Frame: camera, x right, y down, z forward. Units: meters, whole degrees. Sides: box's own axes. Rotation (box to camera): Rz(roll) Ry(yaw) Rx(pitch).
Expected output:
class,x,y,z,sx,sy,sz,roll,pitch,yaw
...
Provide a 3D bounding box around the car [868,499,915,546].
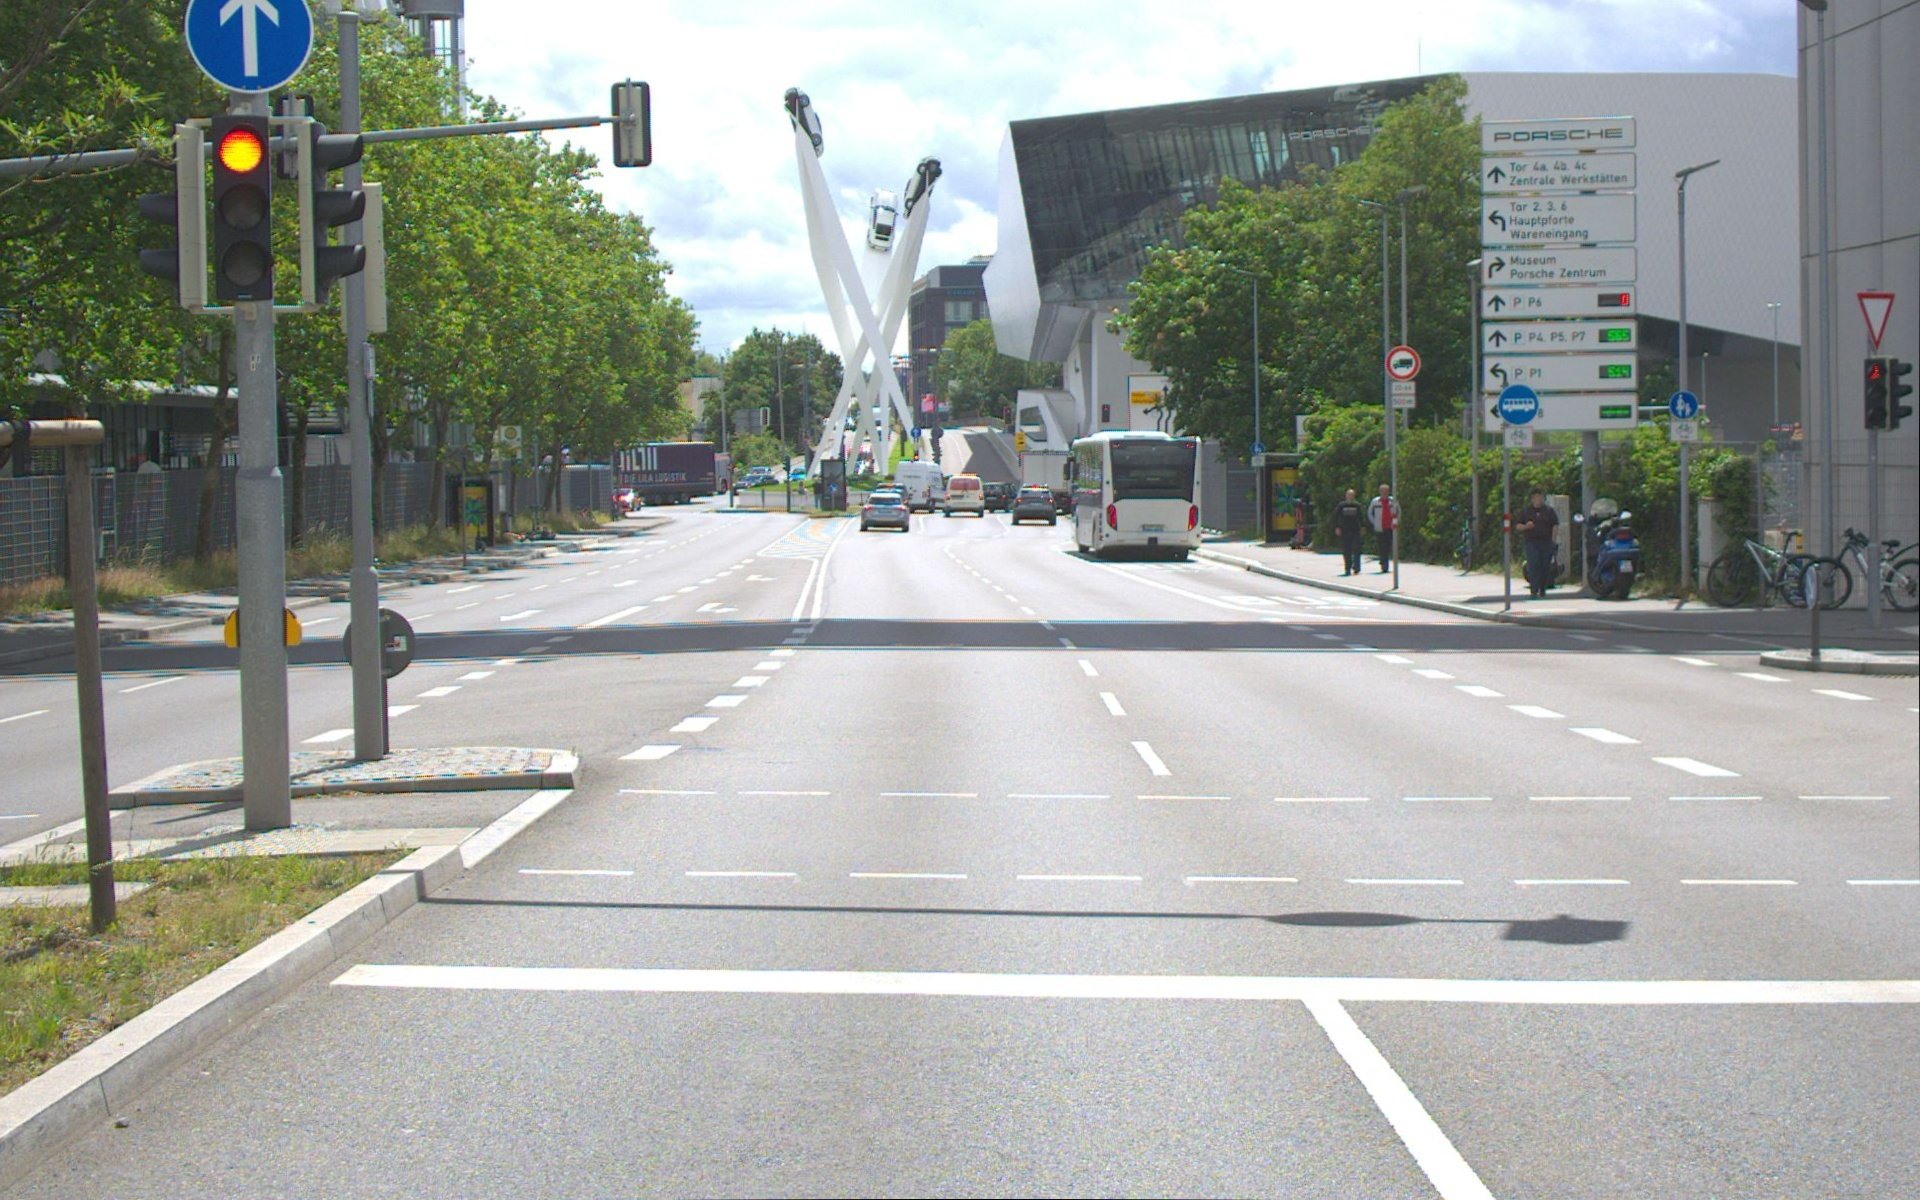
class,x,y,z,sx,sy,sz,roll,pitch,yaw
car,-2.566,-2.944,129.985,1.738,1.735,3.692,0,1,0

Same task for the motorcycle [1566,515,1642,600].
class,x,y,z,sx,sy,sz,roll,pitch,yaw
motorcycle,9.657,-0.644,51.600,0.706,1.199,2.024,-2,2,0

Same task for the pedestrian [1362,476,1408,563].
class,x,y,z,sx,sy,sz,roll,pitch,yaw
pedestrian,8.550,-1.612,69.158,0.820,1.735,0.637,0,1,0

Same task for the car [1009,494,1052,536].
class,x,y,z,sx,sy,sz,roll,pitch,yaw
car,2.977,-3.615,146.229,1.738,1.735,3.692,0,1,0

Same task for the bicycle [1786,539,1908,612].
class,x,y,z,sx,sy,sz,roll,pitch,yaw
bicycle,11.696,-0.334,45.390,0.397,0.933,1.929,0,2,-26

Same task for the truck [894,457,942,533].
class,x,y,z,sx,sy,sz,roll,pitch,yaw
truck,-2.170,-5.446,178.510,2.392,3.884,6.178,0,1,0

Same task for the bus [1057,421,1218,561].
class,x,y,z,sx,sy,sz,roll,pitch,yaw
bus,4.655,-2.888,92.450,3.452,3.531,10.607,0,1,-2

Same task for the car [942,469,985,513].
class,x,y,z,sx,sy,sz,roll,pitch,yaw
car,0.145,-5.287,166.814,1.993,2.007,4.000,1,0,-1

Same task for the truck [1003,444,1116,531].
class,x,y,z,sx,sy,sz,roll,pitch,yaw
truck,5.224,-5.802,178.209,3.455,4.376,9.412,1,1,17

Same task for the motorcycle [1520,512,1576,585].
class,x,y,z,sx,sy,sz,roll,pitch,yaw
motorcycle,10.161,-0.905,59.456,0.574,1.199,2.024,-2,2,0

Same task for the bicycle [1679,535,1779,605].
class,x,y,z,sx,sy,sz,roll,pitch,yaw
bicycle,10.654,-0.424,47.679,0.397,0.933,1.929,0,1,-19

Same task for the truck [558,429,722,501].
class,x,y,z,sx,sy,sz,roll,pitch,yaw
truck,-21.308,-8.977,229.697,3.571,4.309,12.141,1,0,37

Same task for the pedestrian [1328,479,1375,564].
class,x,y,z,sx,sy,sz,roll,pitch,yaw
pedestrian,7.866,-1.578,69.084,0.820,1.701,0.881,0,1,0

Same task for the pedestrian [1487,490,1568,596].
class,x,y,z,sx,sy,sz,roll,pitch,yaw
pedestrian,8.769,-0.891,53.135,0.849,1.619,0.954,1,2,41
